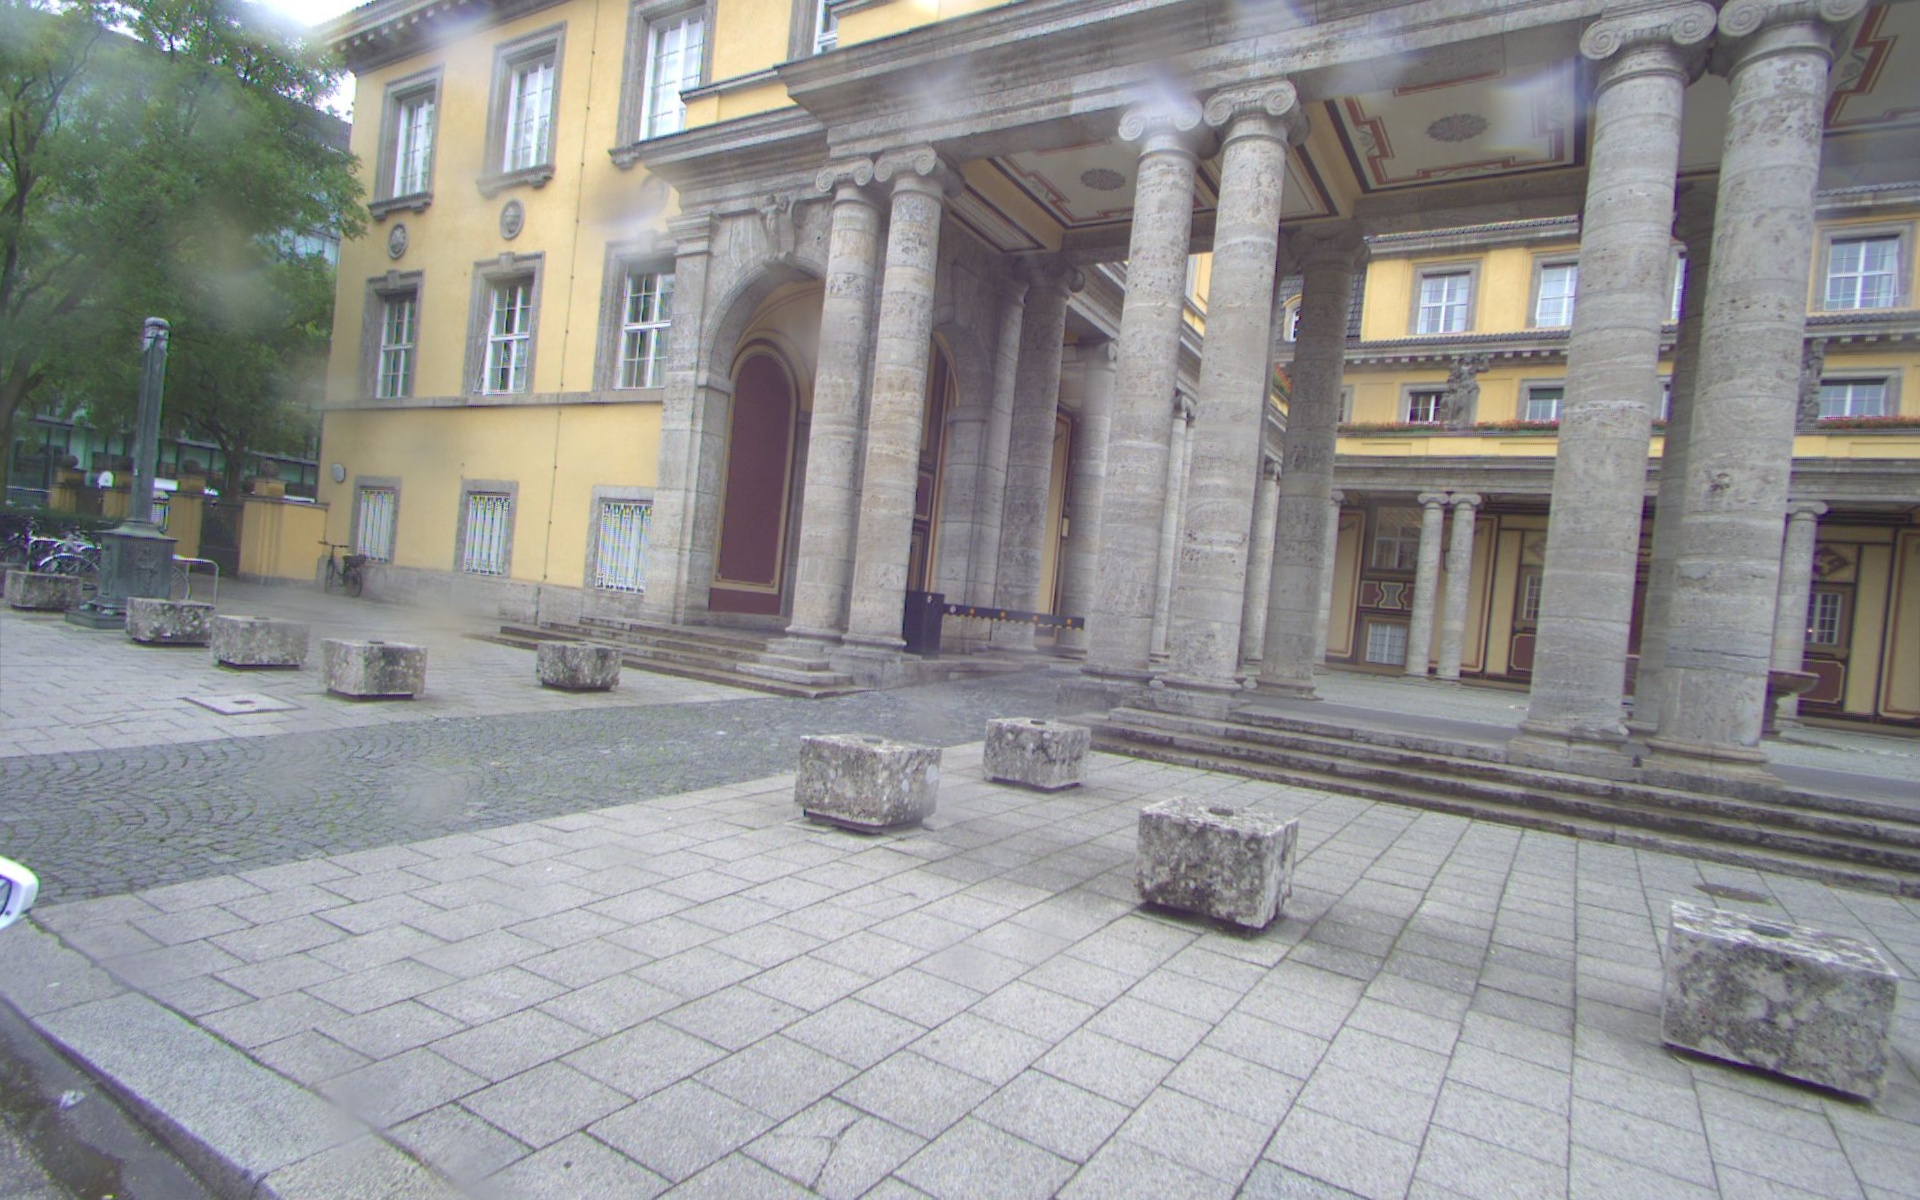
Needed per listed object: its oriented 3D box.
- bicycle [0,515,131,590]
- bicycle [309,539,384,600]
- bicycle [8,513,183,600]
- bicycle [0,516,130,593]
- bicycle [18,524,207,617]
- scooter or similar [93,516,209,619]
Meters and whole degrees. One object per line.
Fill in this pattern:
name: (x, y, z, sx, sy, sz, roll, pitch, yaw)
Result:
bicycle: (-15.546, -0.813, 17.263, 0.464, 1.128, 1.932, 7, 1, 33)
bicycle: (-13.738, -0.698, 22.509, 1.870, 1.169, 0.542, 7, 2, 31)
bicycle: (-13.140, -0.634, 15.355, 0.464, 1.128, 1.931, 7, 1, 34)
bicycle: (-15.032, -0.753, 16.621, 0.464, 1.128, 1.931, 7, 1, 34)
bicycle: (-11.739, -0.378, 14.010, 0.463, 1.128, 1.934, 6, 1, 29)
scooter or similar: (-10.673, -0.418, 13.301, 0.996, 1.238, 0.536, 5, 2, -13)
